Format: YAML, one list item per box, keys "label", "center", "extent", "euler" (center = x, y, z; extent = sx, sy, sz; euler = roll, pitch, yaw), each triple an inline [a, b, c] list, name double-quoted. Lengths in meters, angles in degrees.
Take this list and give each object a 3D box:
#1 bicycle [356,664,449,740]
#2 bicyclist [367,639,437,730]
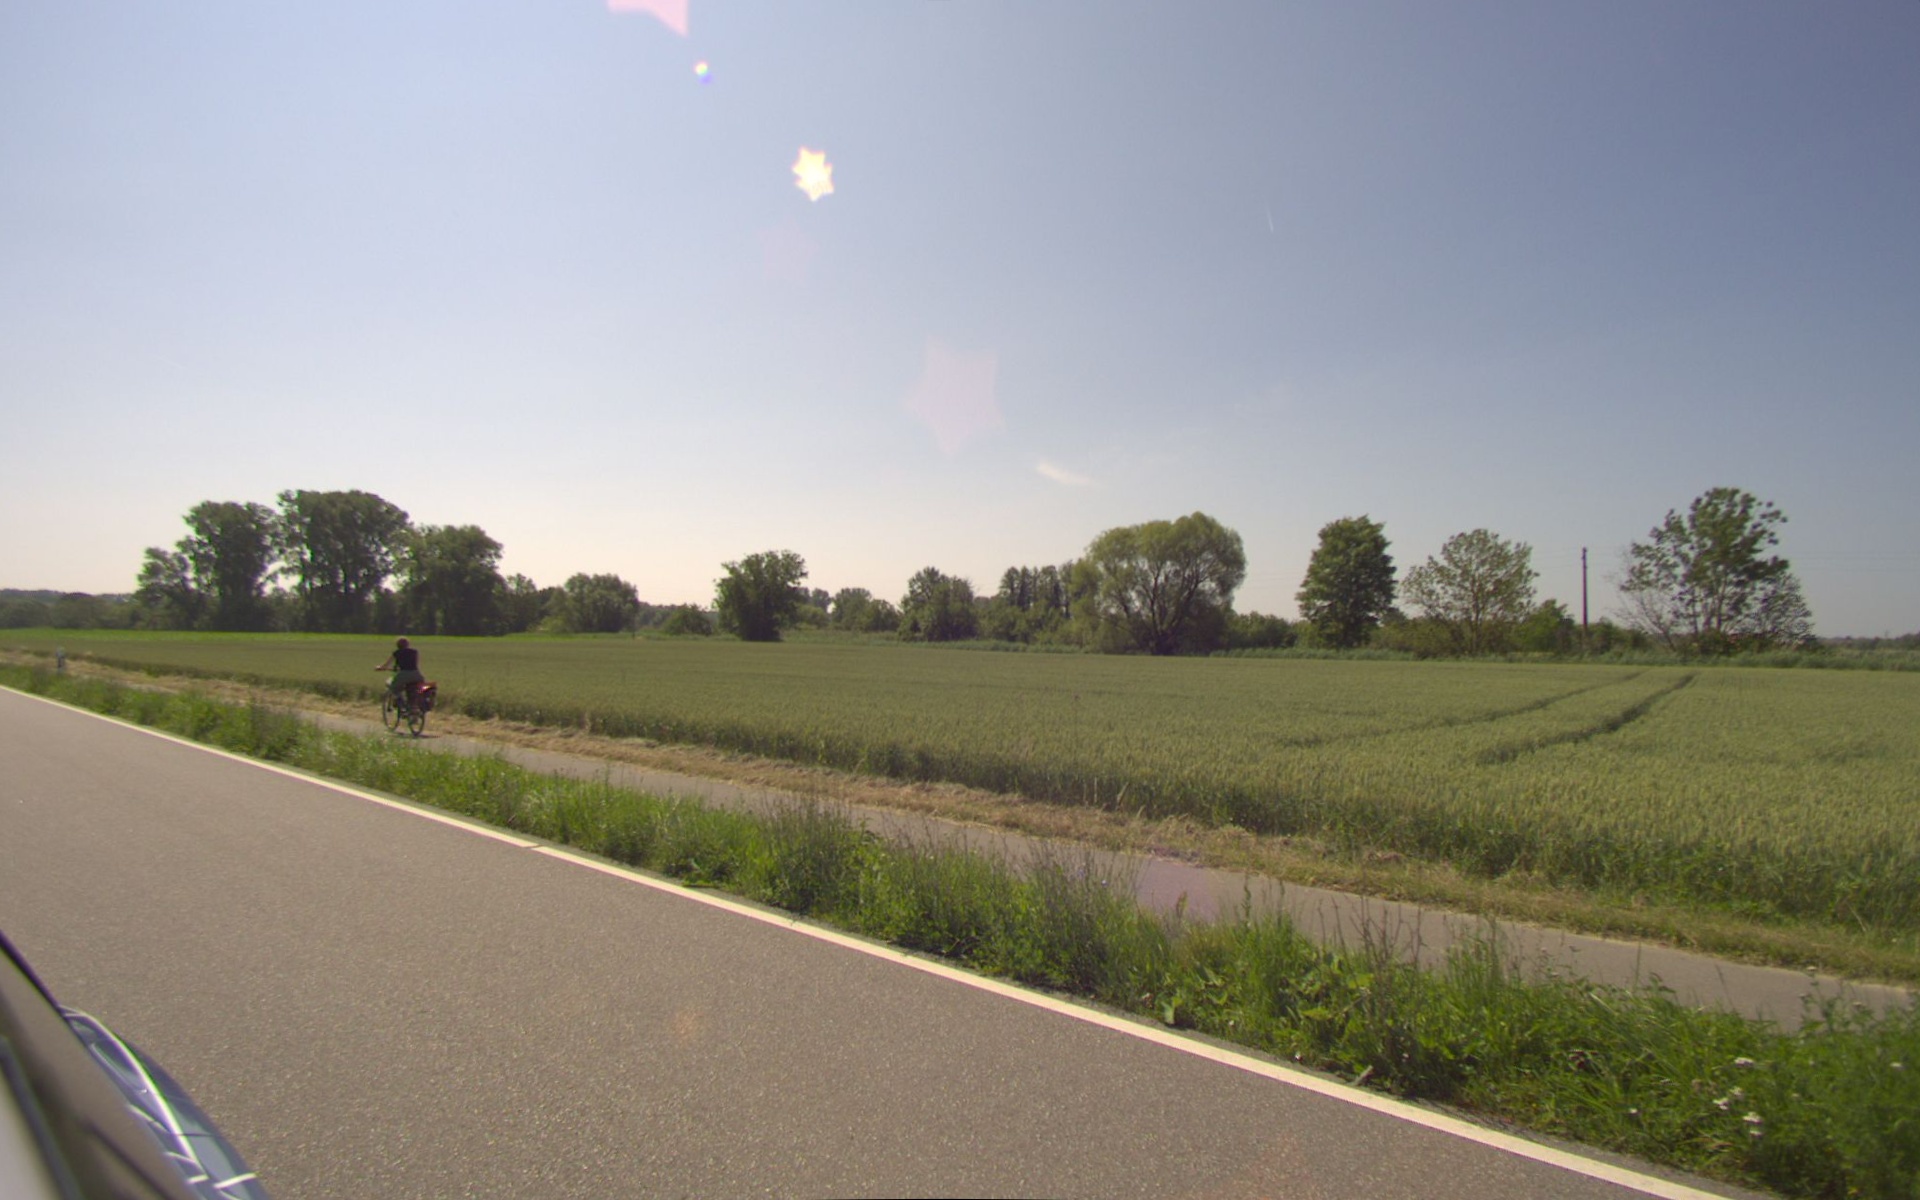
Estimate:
- label: "bicycle"
  center: [-9.731, 1.740, 17.623]
  extent: [2.081, 1.180, 0.733]
  euler: [-1, -3, 41]
- label: "bicyclist"
  center: [-9.719, 1.444, 17.626]
  extent: [1.002, 1.508, 0.733]
  euler: [-1, -3, 41]
